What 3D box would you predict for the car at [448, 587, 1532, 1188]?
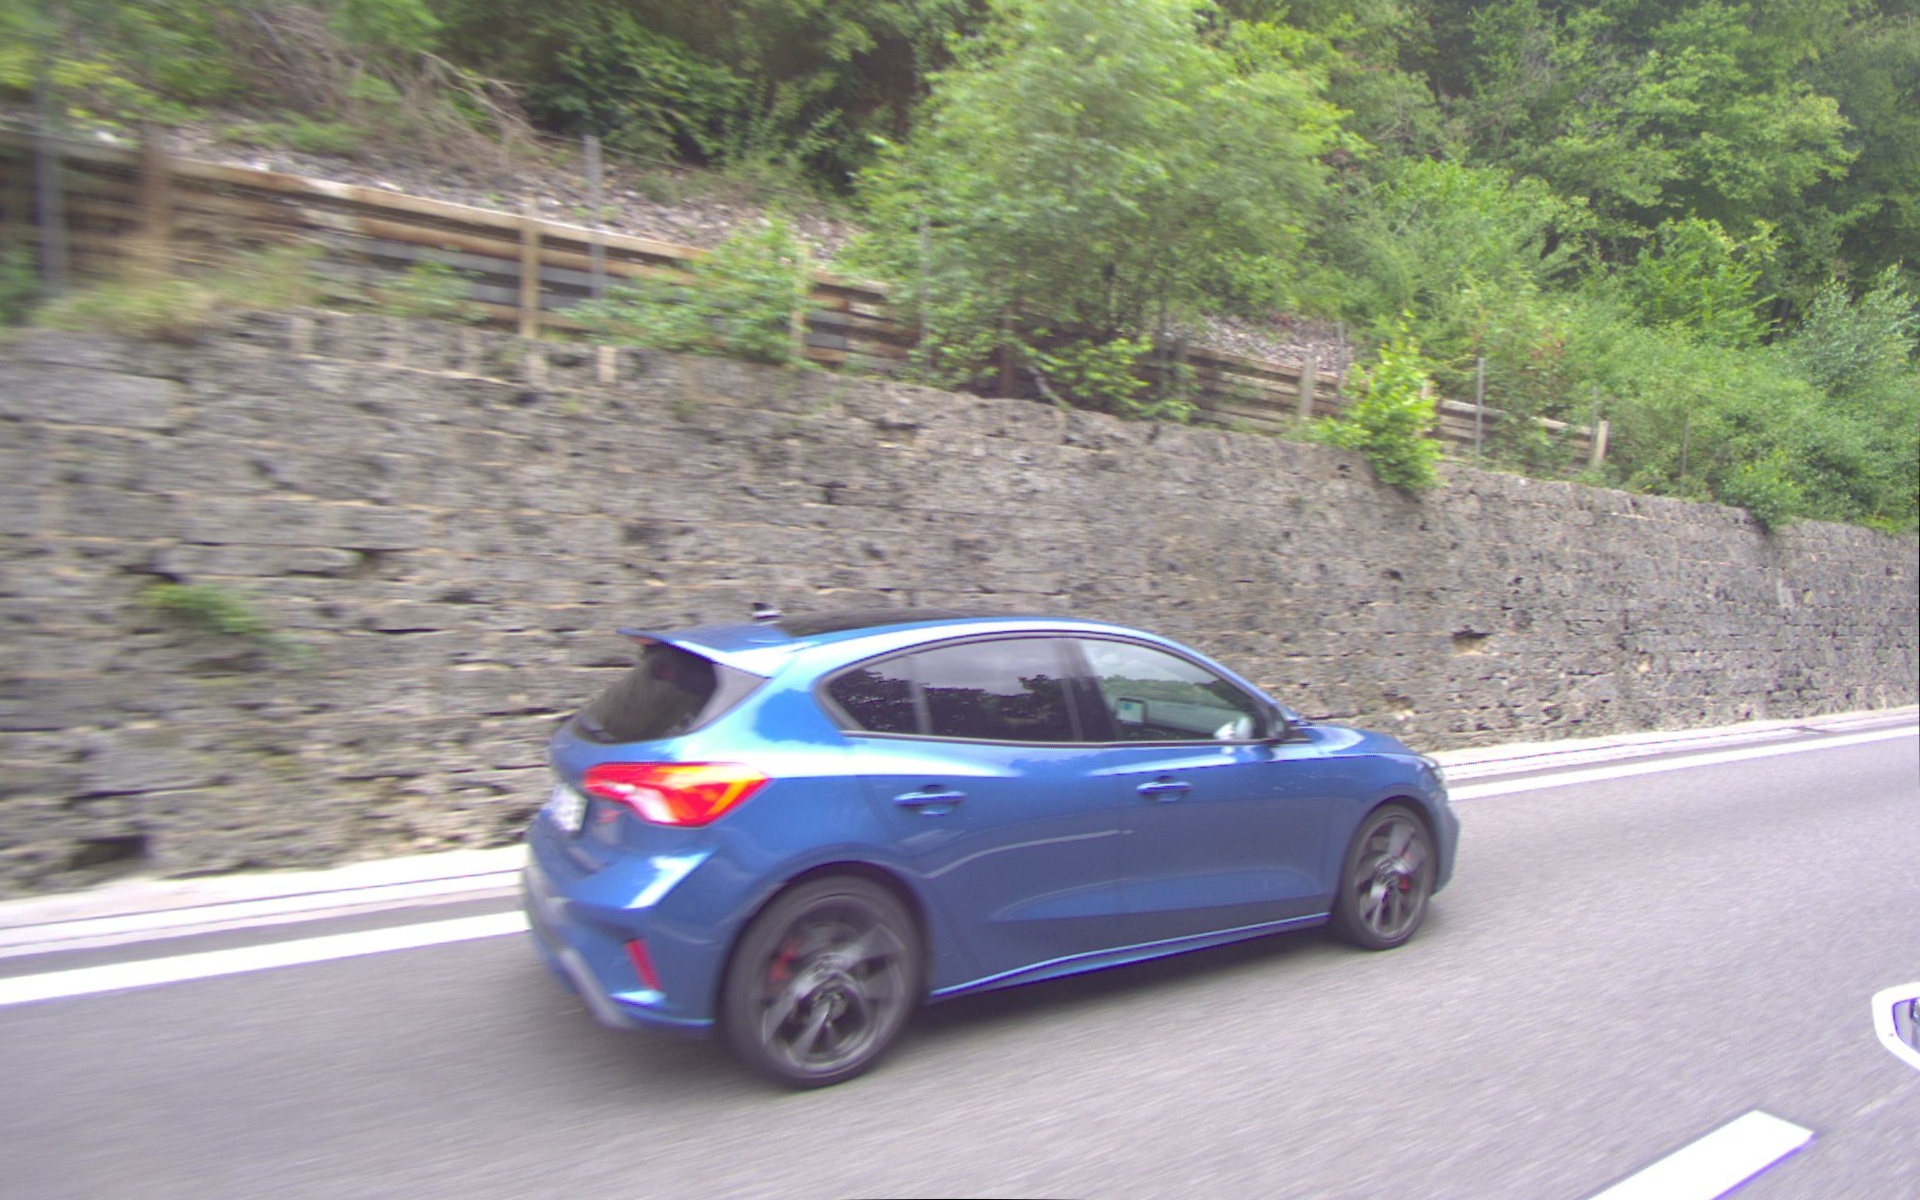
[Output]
[{"bbox_3d":[0.325,0.755,4.433,4.502,1.488,1.827,2,0,-31],"label":"car"}]
